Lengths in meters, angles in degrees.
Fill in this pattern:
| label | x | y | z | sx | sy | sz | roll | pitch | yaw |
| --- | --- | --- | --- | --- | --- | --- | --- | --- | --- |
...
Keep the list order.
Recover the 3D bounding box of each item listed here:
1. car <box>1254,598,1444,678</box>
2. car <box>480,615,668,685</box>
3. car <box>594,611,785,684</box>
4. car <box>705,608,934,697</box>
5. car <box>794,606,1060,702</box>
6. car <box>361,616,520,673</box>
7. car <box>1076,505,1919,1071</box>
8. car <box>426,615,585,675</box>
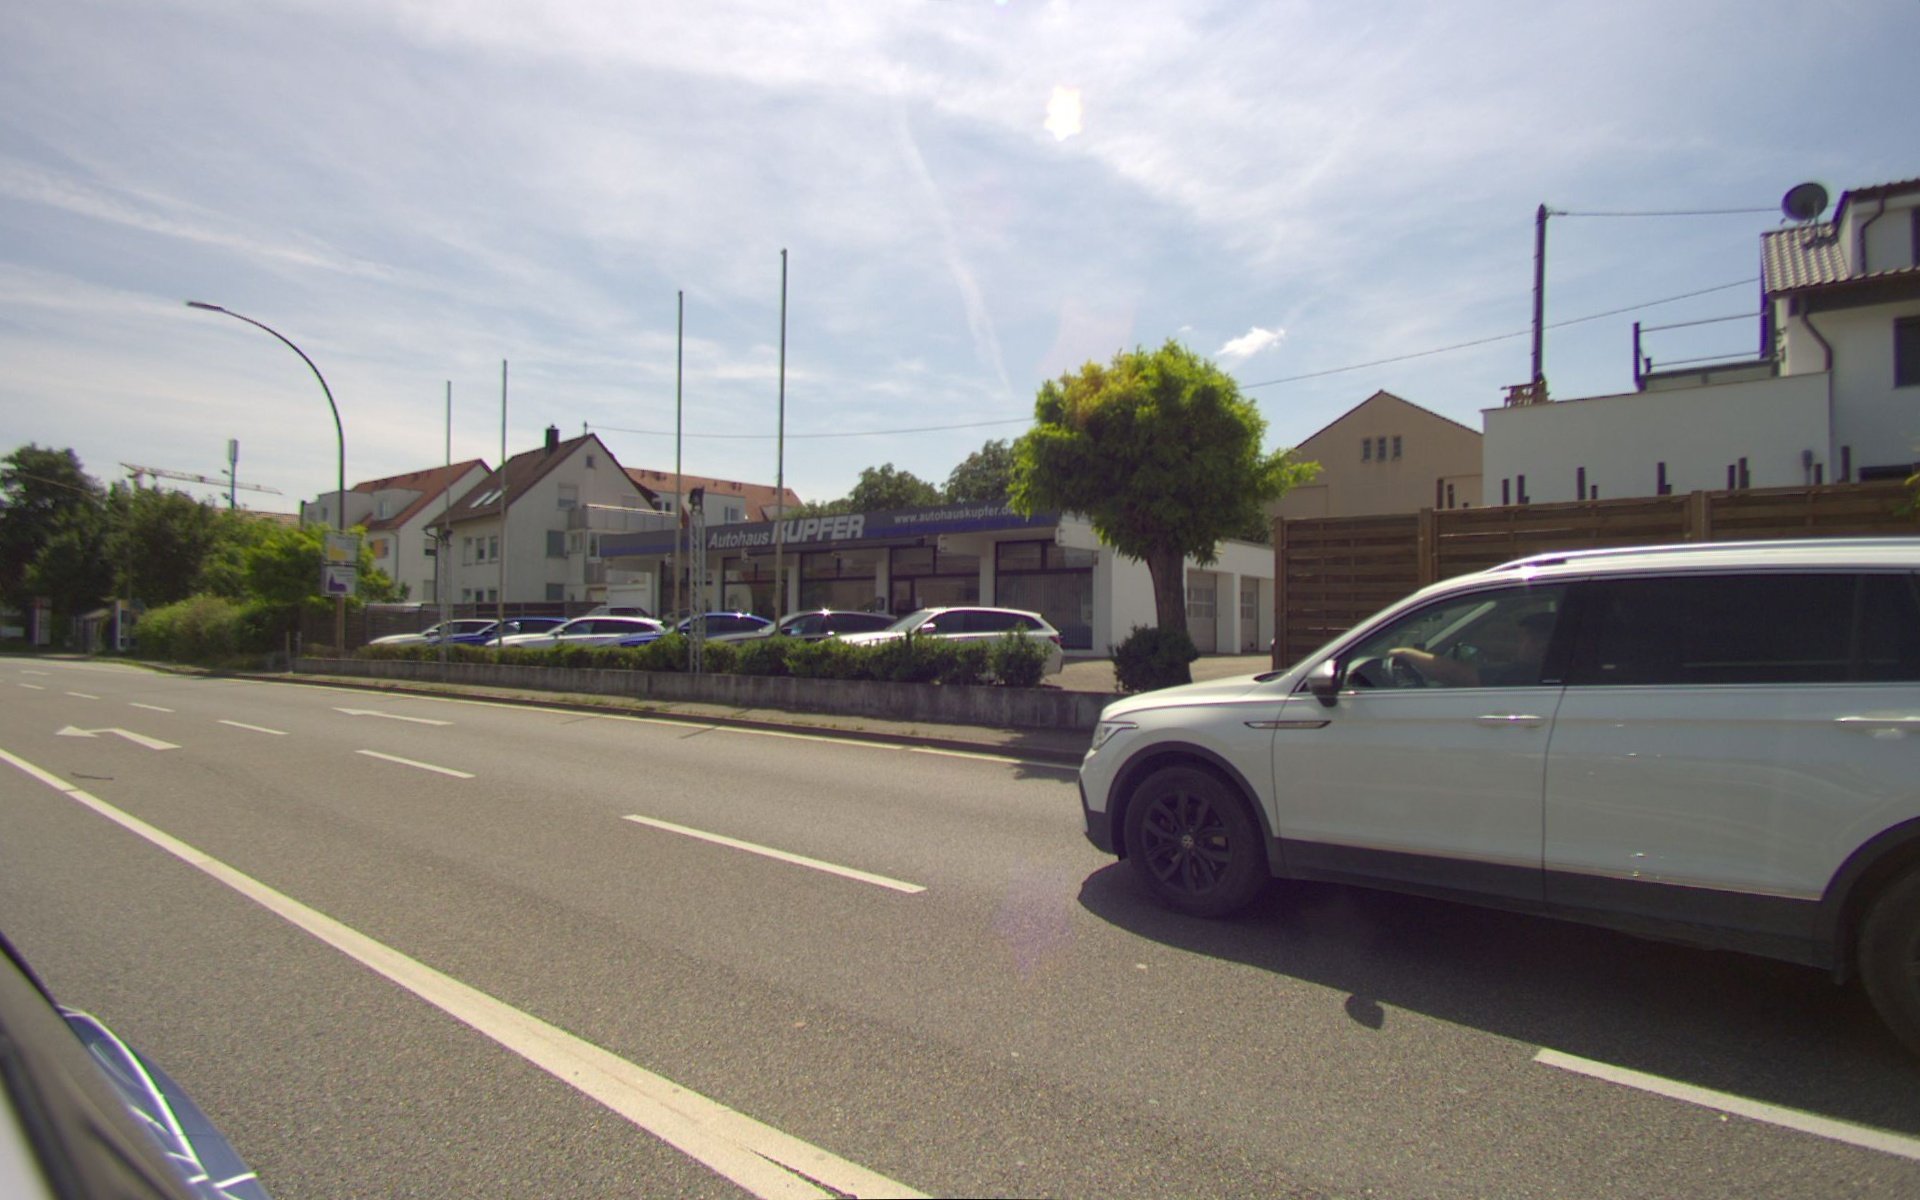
| label | x | y | z | sx | sy | sz | roll | pitch | yaw |
| --- | --- | --- | --- | --- | --- | --- | --- | --- | --- |
| car | 7.924 | 0.708 | 20.487 | 3.936 | 1.451 | 1.886 | 1 | -1 | -39 |
| car | -9.682 | 1.203 | 25.508 | 4.239 | 1.530 | 2.006 | -1 | -1 | -22 |
| car | -6.138 | 1.028 | 22.942 | 3.931 | 1.453 | 1.860 | -1 | -1 | -24 |
| car | -2.833 | 0.995 | 20.501 | 4.187 | 1.557 | 1.856 | -1 | -1 | -26 |
| car | -0.573 | 0.875 | 17.792 | 4.264 | 1.471 | 1.861 | -1 | -1 | -25 |
| car | -15.805 | 1.324 | 31.051 | 4.192 | 1.541 | 2.007 | -1 | -1 | -23 |
| car | 2.817 | 0.565 | 4.251 | 4.404 | 1.668 | 1.825 | -2 | -1 | 44 |
| car | -12.707 | 1.223 | 28.489 | 3.931 | 1.475 | 2.007 | -1 | -1 | -23 |
